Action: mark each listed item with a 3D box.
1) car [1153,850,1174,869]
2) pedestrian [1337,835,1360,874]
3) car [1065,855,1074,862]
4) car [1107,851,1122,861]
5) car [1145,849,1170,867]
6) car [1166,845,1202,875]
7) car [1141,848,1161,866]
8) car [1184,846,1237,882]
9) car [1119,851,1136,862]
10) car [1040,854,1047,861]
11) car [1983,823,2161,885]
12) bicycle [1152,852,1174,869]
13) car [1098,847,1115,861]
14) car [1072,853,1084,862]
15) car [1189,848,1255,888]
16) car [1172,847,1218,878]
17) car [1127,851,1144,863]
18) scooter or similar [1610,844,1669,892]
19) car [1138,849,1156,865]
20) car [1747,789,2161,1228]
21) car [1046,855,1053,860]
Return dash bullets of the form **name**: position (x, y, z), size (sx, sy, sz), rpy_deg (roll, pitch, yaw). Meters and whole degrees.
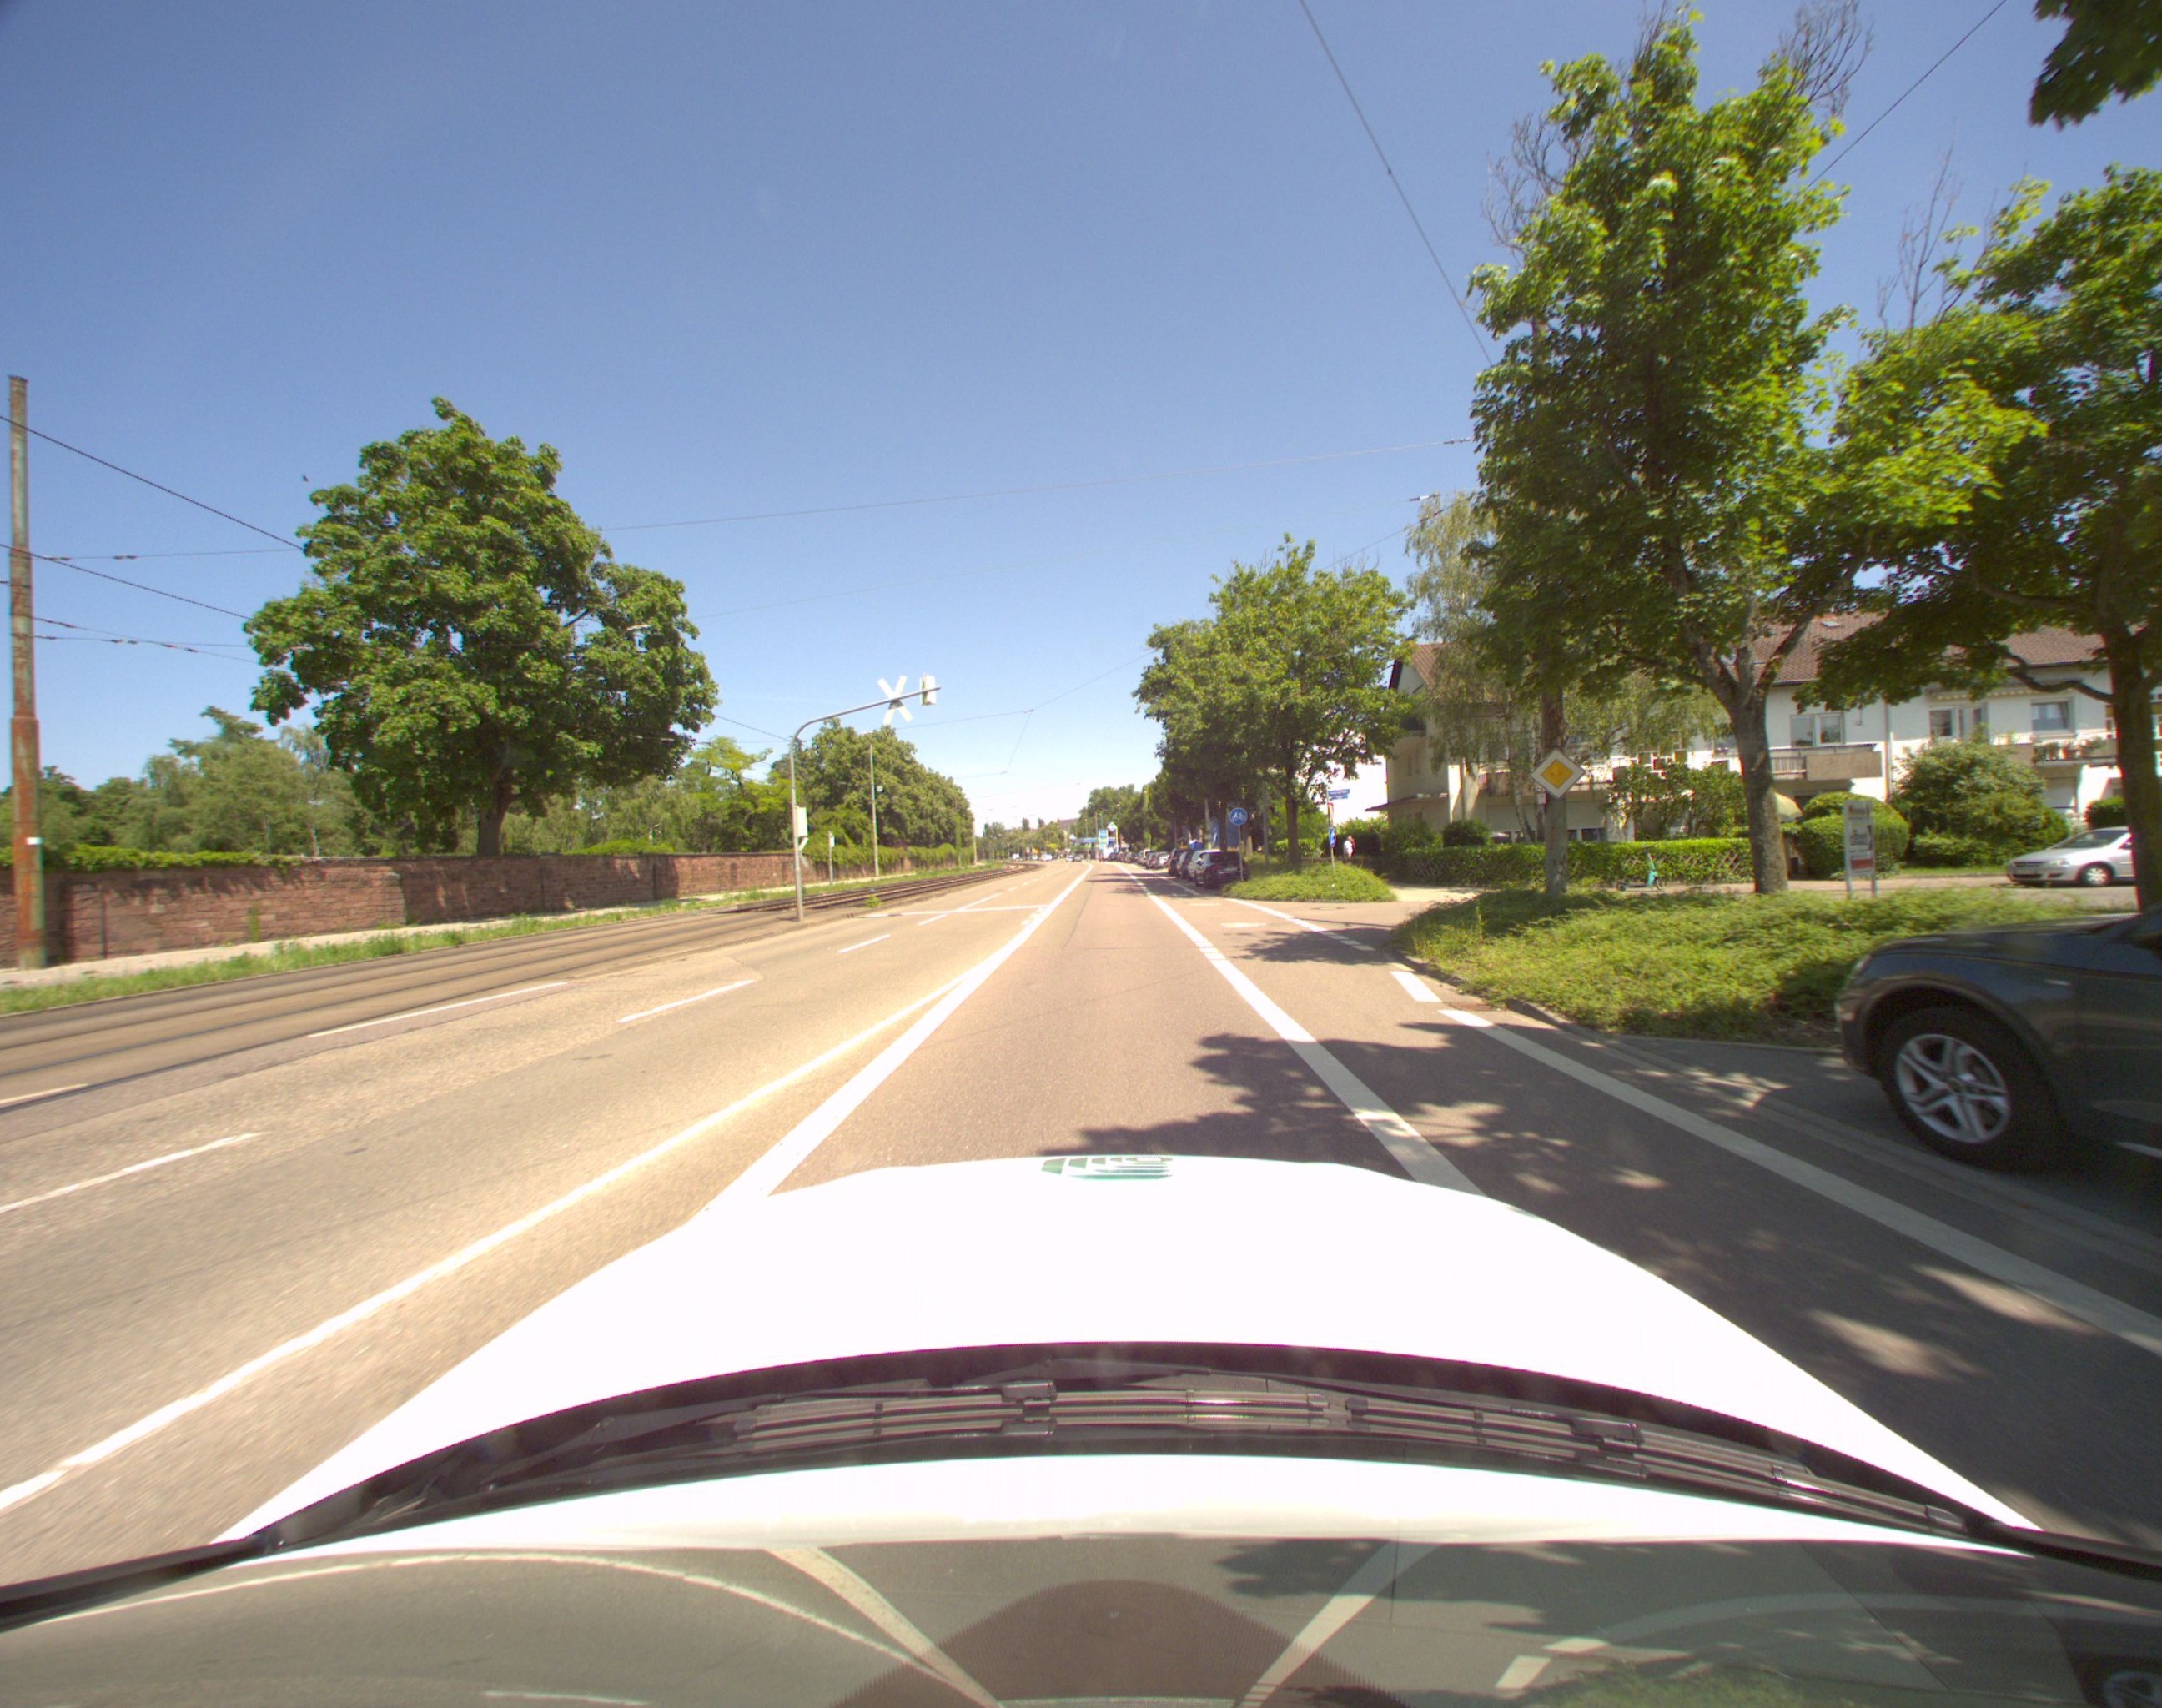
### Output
- **car**: position (7.420, 0.485, 73.520), size (1.513, 1.529, 3.818), rpy_deg (-5, 0, 2)
- **pedestrian**: position (11.850, 0.017, 36.112), size (0.746, 1.722, 0.632), rpy_deg (-2, 0, -5)
- **car**: position (-2.884, 1.031, 199.608), size (1.753, 1.630, 4.315), rpy_deg (-5, 0, -6)
- **car**: position (5.872, 0.398, 143.693), size (1.754, 1.630, 4.313), rpy_deg (-5, 0, -7)
- **car**: position (7.350, 0.398, 78.533), size (1.835, 1.529, 4.964), rpy_deg (-5, 0, -1)
- **car**: position (6.478, 0.340, 51.608), size (1.833, 1.706, 4.630), rpy_deg (-5, 0, 3)
- **car**: position (7.982, 0.315, 93.508), size (1.835, 1.794, 4.354), rpy_deg (-5, 0, 0)
- **car**: position (6.352, 0.476, 40.400), size (1.835, 1.529, 4.204), rpy_deg (-5, 0, -1)
- **car**: position (7.266, 0.378, 127.763), size (1.706, 1.562, 4.312), rpy_deg (-5, 0, -7)
- **car**: position (-11.200, 1.108, 242.626), size (1.754, 1.874, 4.313), rpy_deg (-5, 0, -7)
- **car**: position (24.660, -0.012, 19.562), size (3.759, 1.346, 1.725), rpy_deg (-2, 0, 9)
- **bicycle**: position (7.201, 0.560, 71.485), size (1.765, 1.228, 0.685), rpy_deg (-7, -1, 6)
- **car**: position (4.817, 0.078, 153.839), size (2.000, 2.456, 6.092), rpy_deg (-5, 0, -8)
- **car**: position (-0.626, 0.633, 162.668), size (1.754, 1.630, 4.312), rpy_deg (-4, 0, -7)
- **car**: position (5.840, 0.546, 34.248), size (1.835, 1.436, 4.824), rpy_deg (-5, 0, 0)
- **car**: position (6.383, 0.466, 45.921), size (1.835, 1.529, 4.352), rpy_deg (-5, 0, -1)
- **car**: position (7.774, 0.374, 116.566), size (1.702, 1.492, 5.034), rpy_deg (-5, 0, -2)
- **scooter or similar**: position (15.450, 0.383, 22.546), size (1.175, 1.271, 0.604), rpy_deg (-2, 0, 18)
- **car**: position (8.038, 0.321, 99.694), size (1.833, 1.694, 4.781), rpy_deg (-5, 0, 2)
- **car**: position (4.865, 0.529, 2.545), size (1.706, 1.632, 4.710), rpy_deg (-5, -1, 2)
- **car**: position (-10.069, 1.057, 261.774), size (1.754, 1.630, 4.313), rpy_deg (-5, 0, -7)
